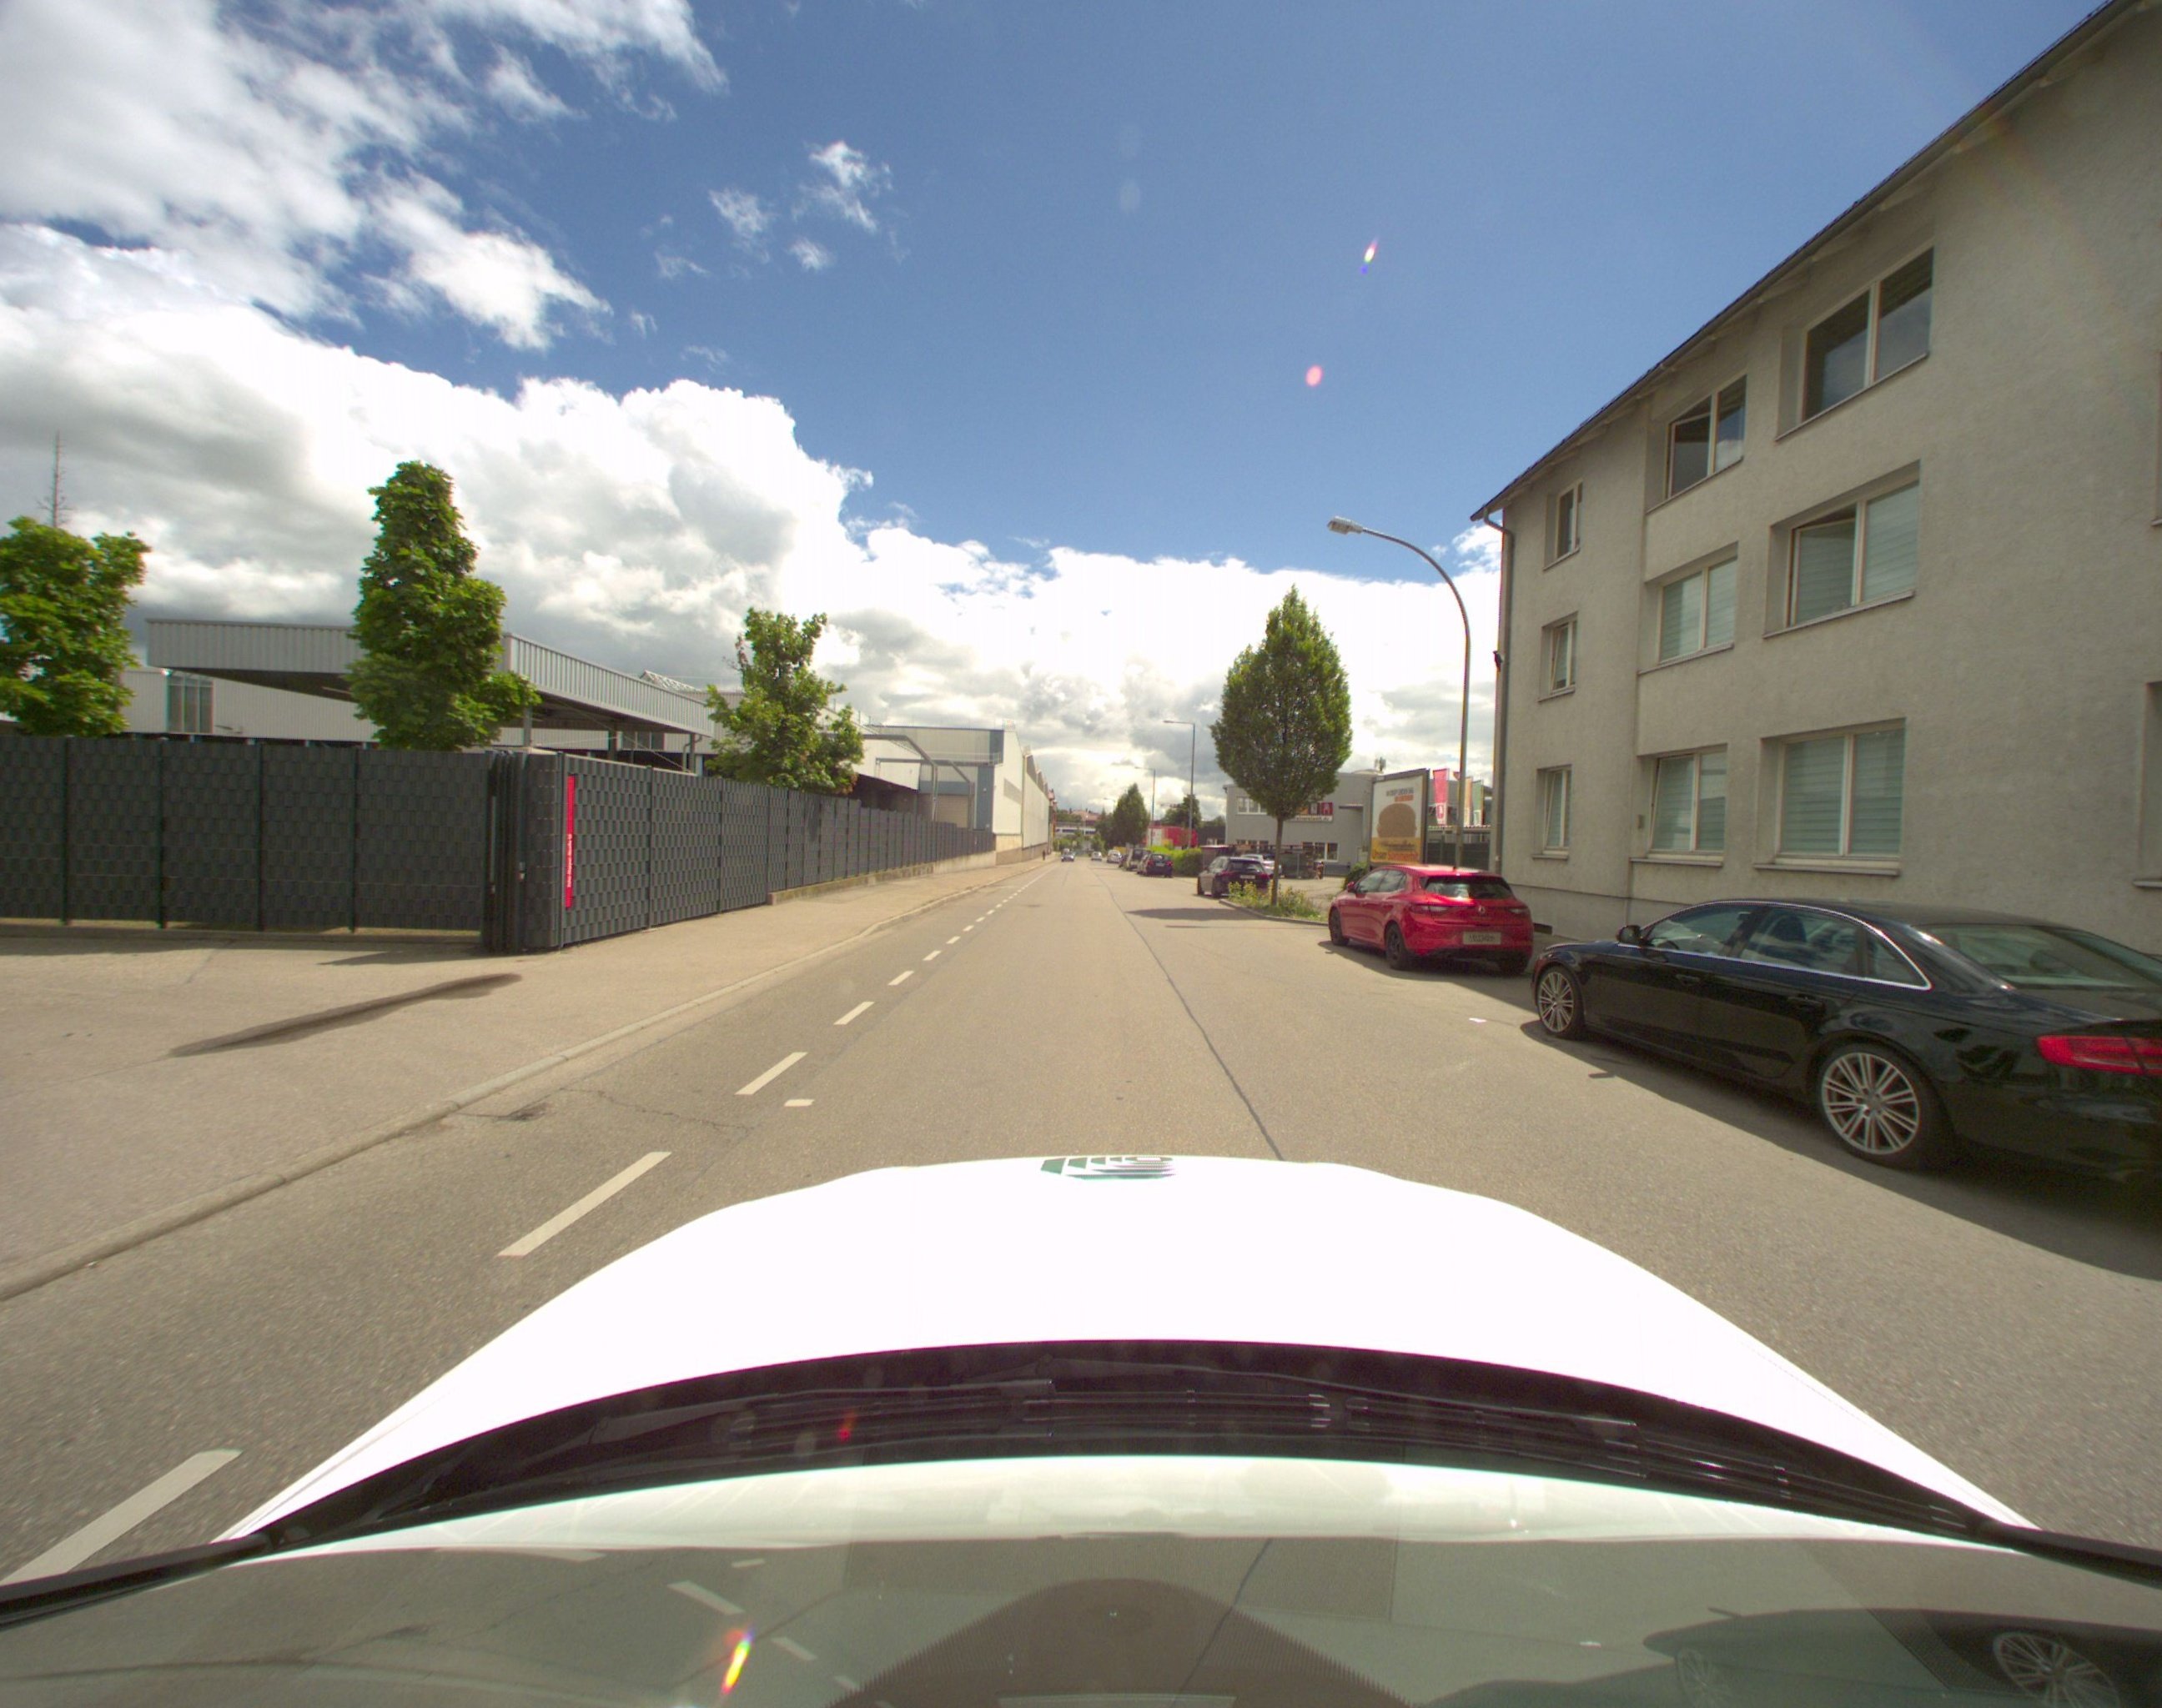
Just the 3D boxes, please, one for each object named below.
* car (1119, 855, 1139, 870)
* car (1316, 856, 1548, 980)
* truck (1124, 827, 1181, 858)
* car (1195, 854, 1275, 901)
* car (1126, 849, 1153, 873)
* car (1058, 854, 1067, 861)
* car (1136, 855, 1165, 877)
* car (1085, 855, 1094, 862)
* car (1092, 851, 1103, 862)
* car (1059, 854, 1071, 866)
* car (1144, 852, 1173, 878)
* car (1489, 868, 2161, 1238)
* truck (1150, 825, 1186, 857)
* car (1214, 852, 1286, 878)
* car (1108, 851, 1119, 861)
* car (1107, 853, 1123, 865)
[{"bbox_3d":[4.904,0.865,84.061,1.709,1.473,4.510,2,0,-1],"label":"car"},{"bbox_3d":[5.145,0.831,12.630,1.729,1.472,4.261,2,1,0],"label":"car"},{"bbox_3d":[11.272,-1.804,128.361,8.379,4.671,2.595,1,-2,20],"label":"truck"},{"bbox_3d":[5.309,0.766,28.664,1.786,1.466,4.705,2,0,-2],"label":"car"},{"bbox_3d":[5.017,0.597,70.245,1.863,1.990,5.142,2,0,-1],"label":"car"},{"bbox_3d":[-4.065,0.851,181.022,1.847,1.486,3.998,2,-2,-1],"label":"car"},{"bbox_3d":[5.126,0.859,60.322,1.650,1.540,4.732,2,0,0],"label":"car"},{"bbox_3d":[2.001,1.080,192.188,1.847,1.486,3.998,2,-2,-1],"label":"car"},{"bbox_3d":[2.714,0.416,133.886,1.562,1.786,3.604,2,-2,-1],"label":"car"},{"bbox_3d":[-2.302,0.907,117.276,1.714,1.556,4.285,-1,-1,-1],"label":"car"},{"bbox_3d":[5.202,0.700,55.147,1.673,1.638,4.124,2,0,1],"label":"car"},{"bbox_3d":[5.116,0.925,5.942,1.730,1.423,4.858,3,1,-1],"label":"car"},{"bbox_3d":[12.979,-1.844,121.591,2.579,4.449,7.821,2,-2,-15],"label":"truck"},{"bbox_3d":[10.132,0.684,49.015,1.734,1.462,4.028,-1,0,-39],"label":"car"},{"bbox_3d":[4.987,0.333,125.121,1.695,1.527,3.739,2,0,1],"label":"car"},{"bbox_3d":[4.730,0.732,114.345,1.698,1.527,3.733,5,0,-4],"label":"car"}]
